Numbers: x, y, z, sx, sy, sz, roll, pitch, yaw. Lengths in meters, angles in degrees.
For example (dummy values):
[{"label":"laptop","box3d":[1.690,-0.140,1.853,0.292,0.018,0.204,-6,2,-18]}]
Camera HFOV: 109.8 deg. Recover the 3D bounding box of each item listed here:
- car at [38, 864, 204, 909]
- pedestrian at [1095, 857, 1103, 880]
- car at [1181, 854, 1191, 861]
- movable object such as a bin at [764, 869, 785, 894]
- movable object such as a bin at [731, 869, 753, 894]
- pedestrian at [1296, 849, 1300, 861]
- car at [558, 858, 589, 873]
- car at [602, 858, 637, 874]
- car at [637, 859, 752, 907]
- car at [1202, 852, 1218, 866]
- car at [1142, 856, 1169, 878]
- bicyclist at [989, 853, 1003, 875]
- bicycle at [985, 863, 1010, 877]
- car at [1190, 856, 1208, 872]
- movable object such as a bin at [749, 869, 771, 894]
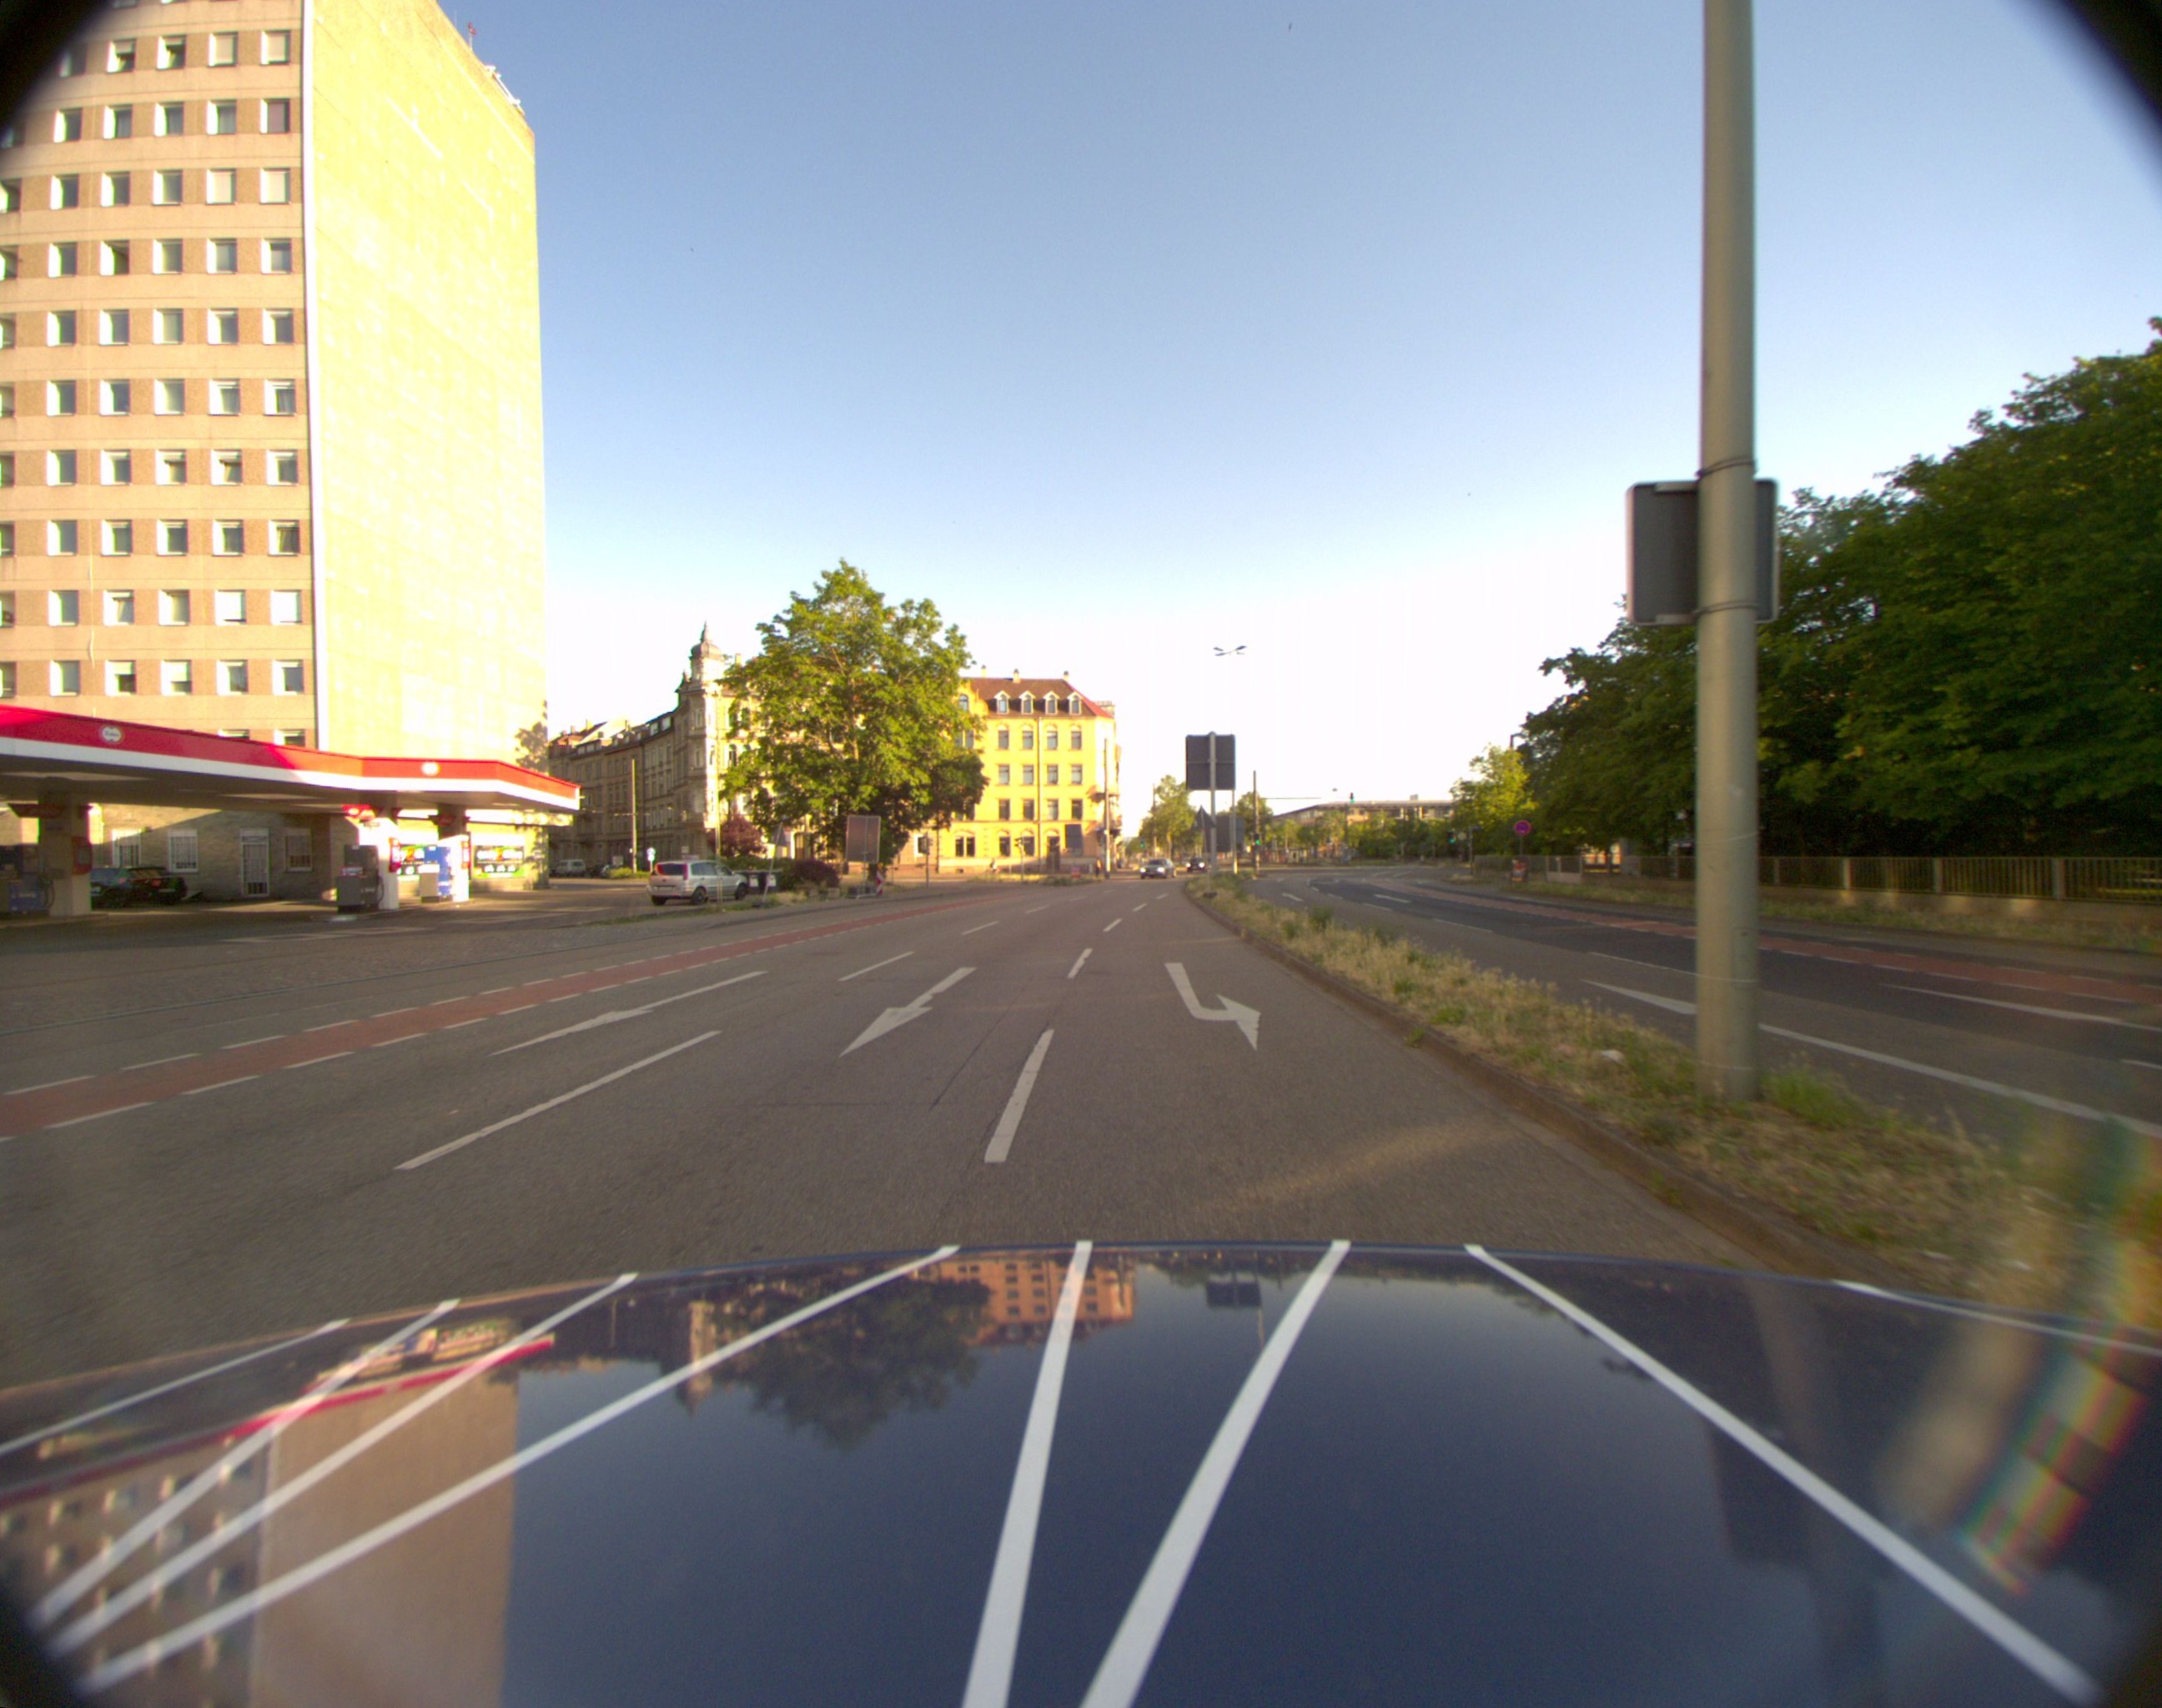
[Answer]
[{"label":"car","box3d":[-35.283,1.179,27.998,3.793,1.508,1.770,-1,1,0]},{"label":"pedestrian","box3d":[1.342,1.072,57.278,0.500,1.693,0.472,-1,1,7]},{"label":"car","box3d":[20.049,0.628,145.195,1.673,1.410,4.444,-1,0,10]},{"label":"movable object such as a bin","box3d":[-12.608,1.129,31.269,0.544,1.013,0.688,-1,1,6]},{"label":"movable object such as a bin","box3d":[-14.102,1.150,31.604,0.544,1.013,0.688,-1,1,6]},{"label":"pedestrian","box3d":[36.510,0.188,127.831,0.556,2.002,0.664,-1,1,2]},{"label":"car","box3d":[-59.172,1.290,88.627,3.988,1.677,2.004,-1,0,41]},{"label":"car","box3d":[-47.356,1.231,77.886,3.988,1.524,2.004,-1,0,43]},{"label":"car","box3d":[-13.519,0.964,26.824,1.687,1.508,3.798,-1,1,9]},{"label":"car","box3d":[15.164,0.566,89.325,1.730,1.440,4.049,-2,0,11]},{"label":"car","box3d":[5.365,0.902,55.273,1.819,1.440,4.668,-2,0,4]},{"label":"bicyclist","box3d":[-6.609,0.778,59.394,1.065,1.639,0.732,-1,1,-6]},{"label":"bicycle","box3d":[-6.534,1.232,59.346,1.927,1.053,0.451,-1,1,-6]},{"label":"car","box3d":[11.413,0.922,73.536,1.583,1.440,3.875,-2,0,10]},{"label":"movable object such as a bin","box3d":[-13.323,1.143,31.510,0.544,1.013,0.688,-1,1,6]}]
